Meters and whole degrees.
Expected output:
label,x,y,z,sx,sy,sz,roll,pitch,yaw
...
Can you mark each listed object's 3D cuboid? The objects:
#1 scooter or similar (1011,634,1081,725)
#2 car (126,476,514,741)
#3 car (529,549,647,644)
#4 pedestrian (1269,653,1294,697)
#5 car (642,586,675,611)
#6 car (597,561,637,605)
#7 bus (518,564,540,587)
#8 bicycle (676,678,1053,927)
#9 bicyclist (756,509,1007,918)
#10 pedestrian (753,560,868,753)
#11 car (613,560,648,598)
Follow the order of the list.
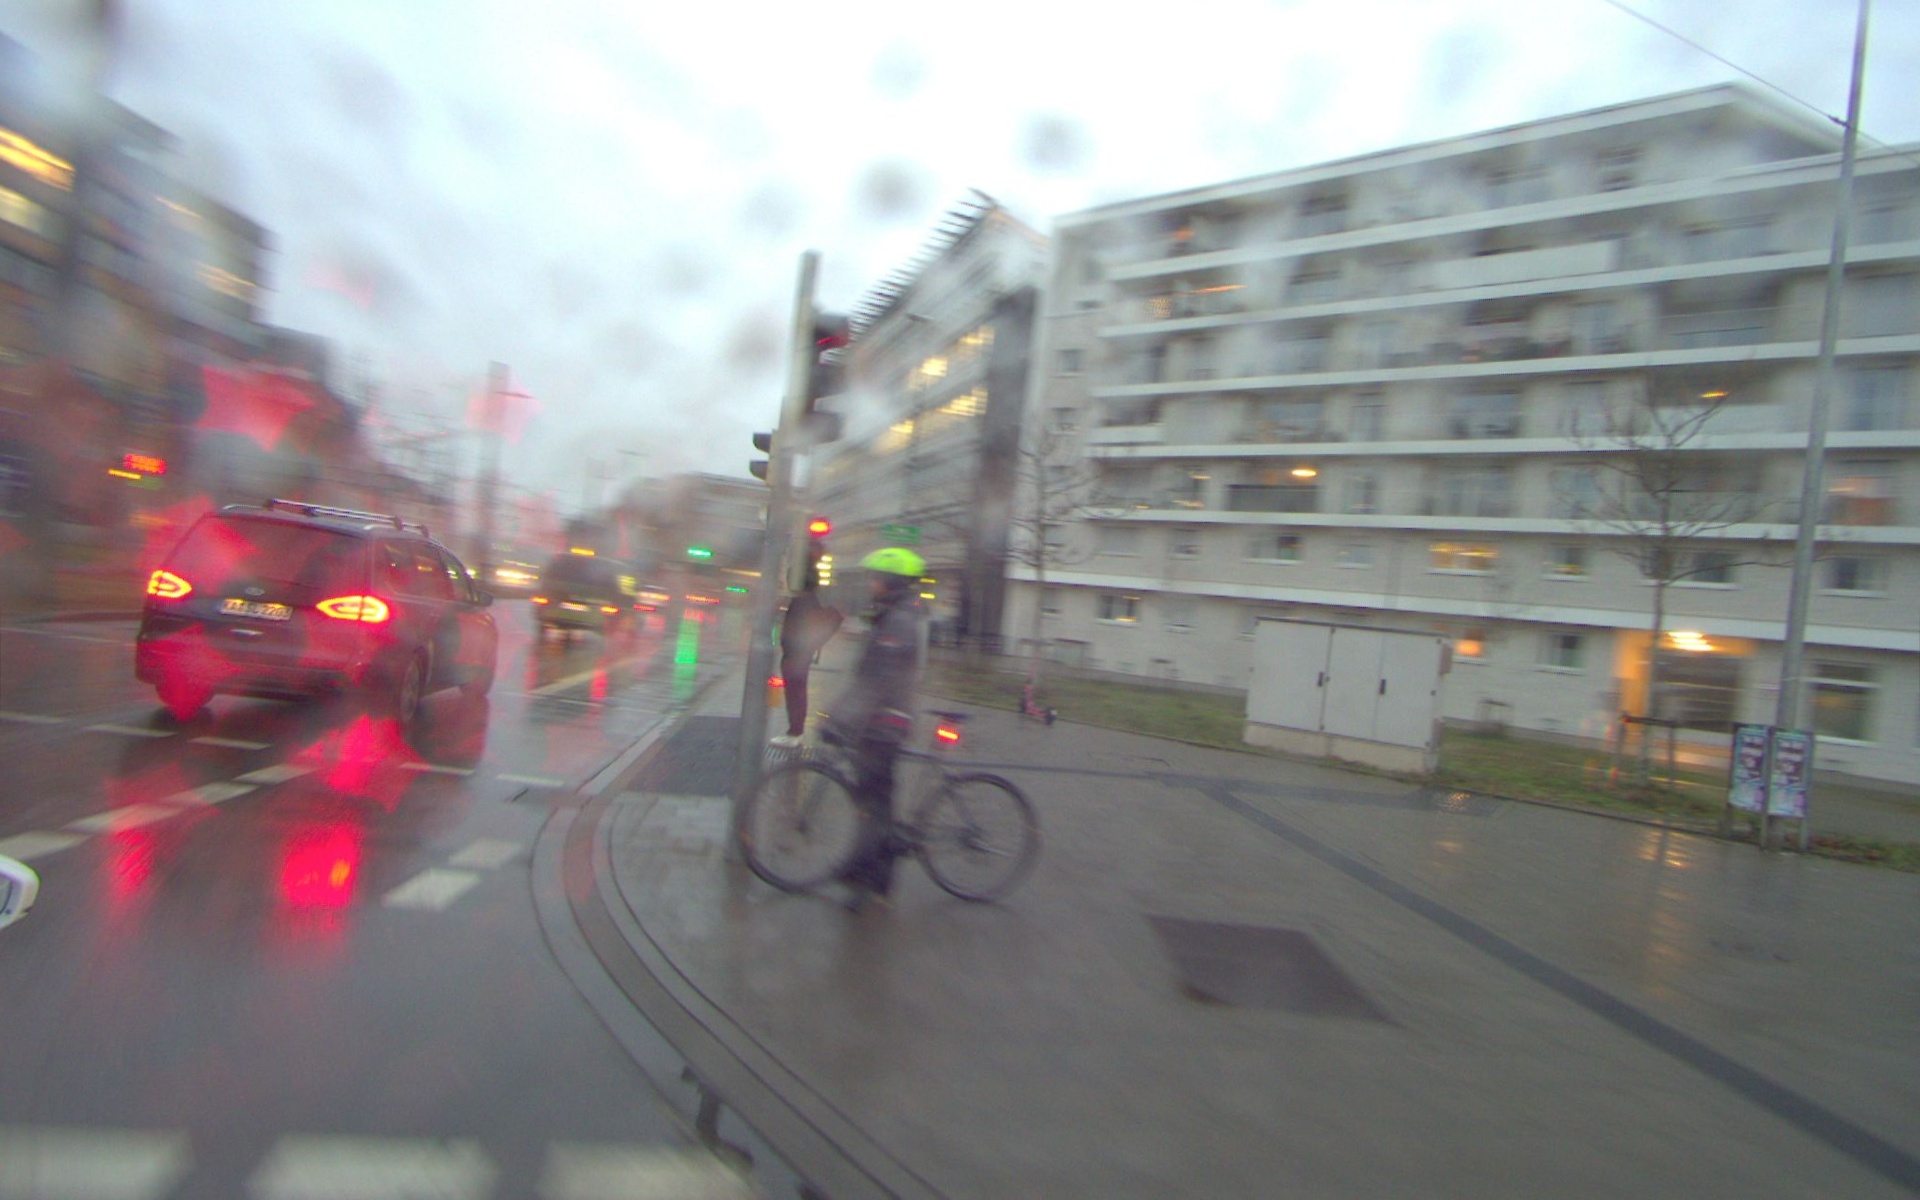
label,x,y,z,sx,sy,sz,roll,pitch,yaw
scooter or similar,1.279,1.178,15.167,0.329,1.221,1.302,6,-1,-24
car,-5.655,0.088,9.536,1.652,1.801,3.992,7,-1,-12
car,-8.718,-0.071,23.979,1.819,1.827,4.478,7,-1,-12
pedestrian,12.842,3.003,40.221,0.621,1.652,0.722,6,0,3
car,-18.808,-0.095,62.918,1.619,1.377,3.724,7,-1,-13
car,-21.965,-1.056,64.572,1.970,2.456,5.954,7,-1,-17
bus,-72.894,-4.126,170.093,2.798,3.412,7.952,7,-1,-26
bicycle,-0.487,1.043,5.463,1.831,0.985,0.658,7,0,10
bicyclist,-0.380,0.563,5.385,0.970,1.913,0.794,6,0,10
pedestrian,-1.559,0.590,10.494,0.626,1.900,0.771,6,0,43
car,-28.372,-1.733,86.760,2.326,2.860,6.341,7,-1,-16
